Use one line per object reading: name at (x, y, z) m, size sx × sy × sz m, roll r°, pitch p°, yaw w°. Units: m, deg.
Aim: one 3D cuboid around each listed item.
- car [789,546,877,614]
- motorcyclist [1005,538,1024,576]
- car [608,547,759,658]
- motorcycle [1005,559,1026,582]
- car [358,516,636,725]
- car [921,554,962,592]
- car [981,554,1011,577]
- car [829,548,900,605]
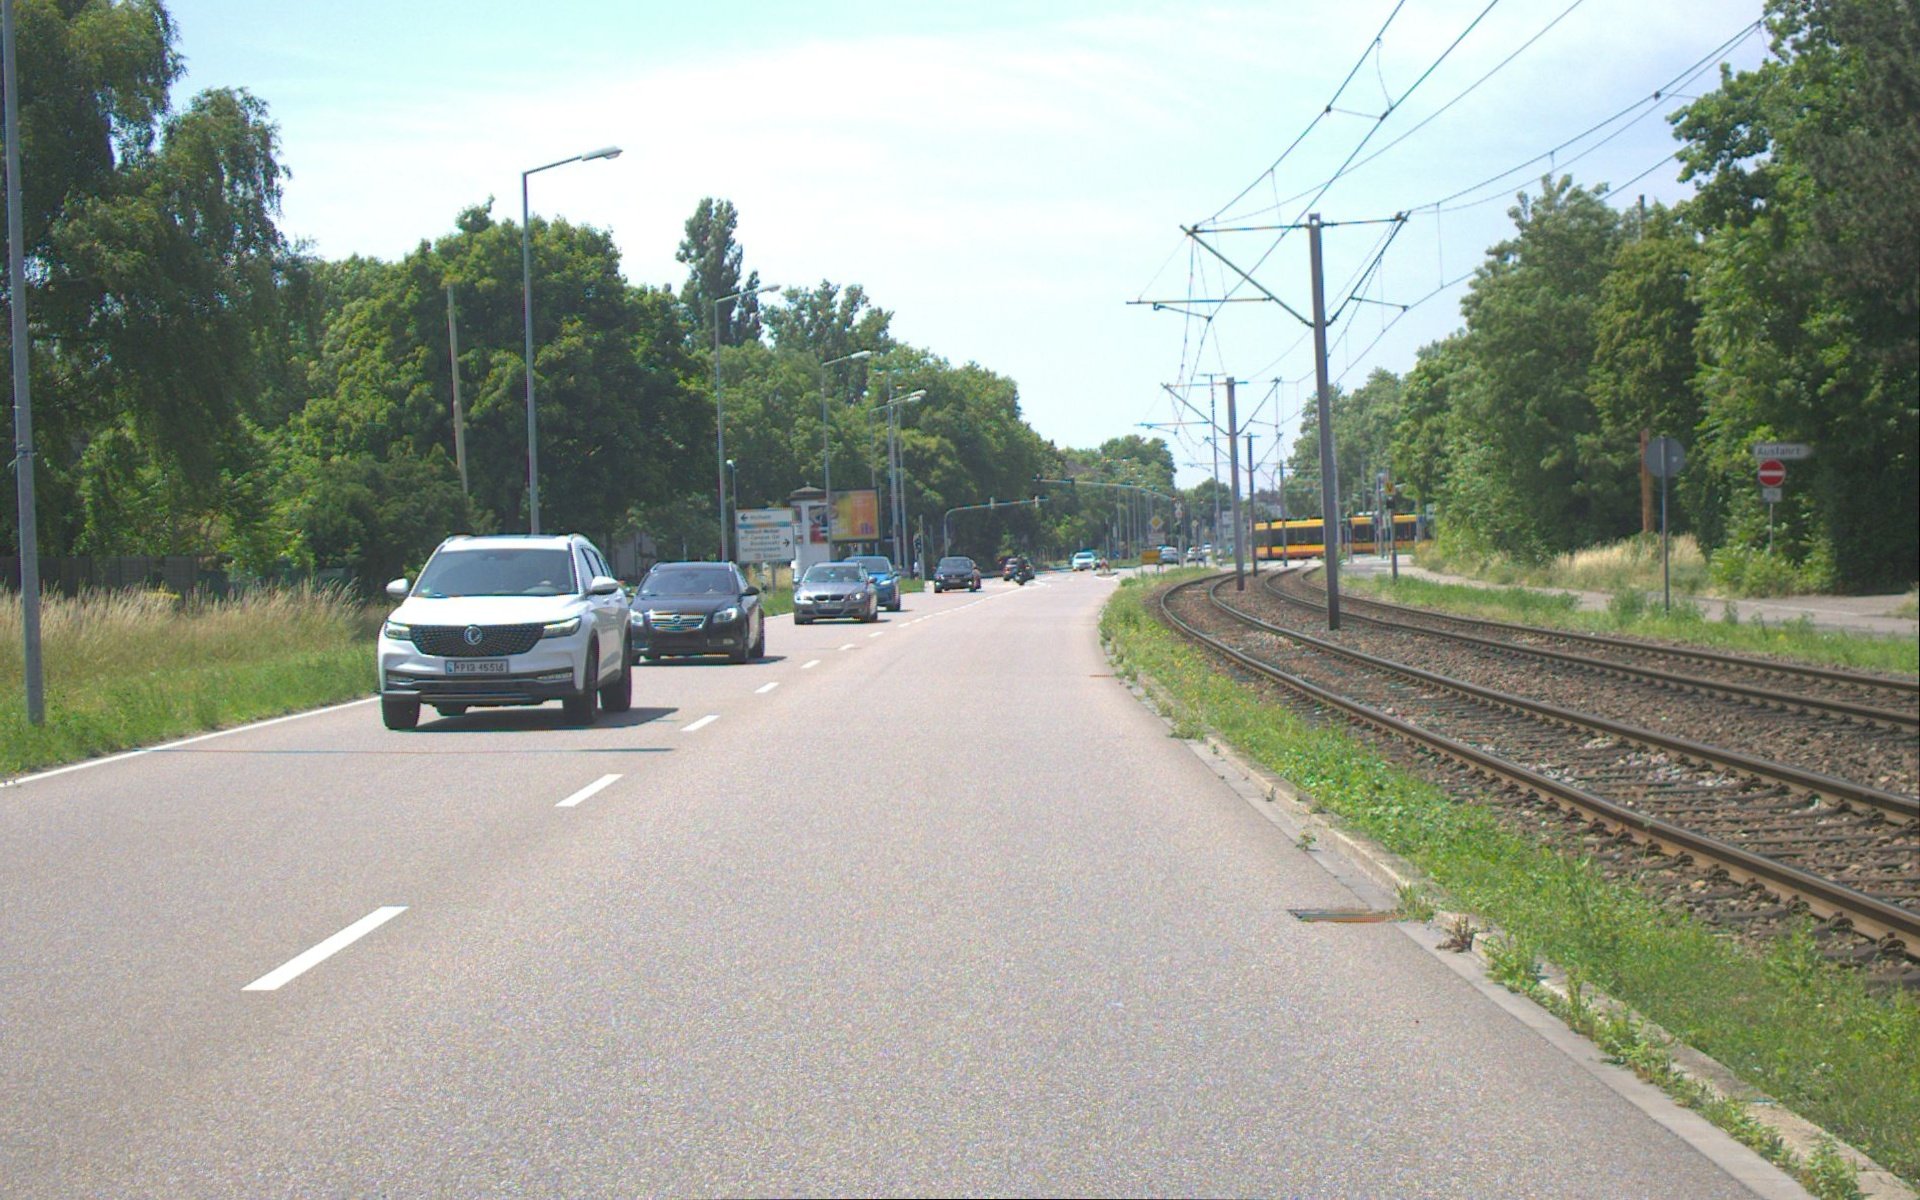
car at (-2.934, -0.477, 80.162) m, size 1.817 × 1.488 × 4.363 m, roll -1°, pitch 1°, yaw 0°
motorcyclist at (2.739, -2.152, 171.771) m, size 0.891 × 1.898 × 1.015 m, roll -1°, pitch 0°, yaw 2°
car at (-4.035, 0.012, 50.773) m, size 1.817 × 1.523 × 4.363 m, roll -1°, pitch 1°, yaw 0°
motorcycle at (2.776, -1.473, 171.815) m, size 0.970 × 1.114 × 2.732 m, roll -1°, pitch 1°, yaw 2°
car at (-4.277, 0.159, 32.495) m, size 1.935 × 1.790 × 4.712 m, roll -1°, pitch 1°, yaw 0°
car at (-0.738, -1.127, 142.798) m, size 1.627 × 1.485 × 4.363 m, roll -1°, pitch 1°, yaw 0°
car at (2.263, -2.142, 215.036) m, size 1.627 × 1.390 × 4.363 m, roll -1°, pitch 1°, yaw 4°
car at (-2.648, -0.662, 96.455) m, size 1.817 × 1.532 × 4.363 m, roll -1°, pitch 1°, yaw 0°
